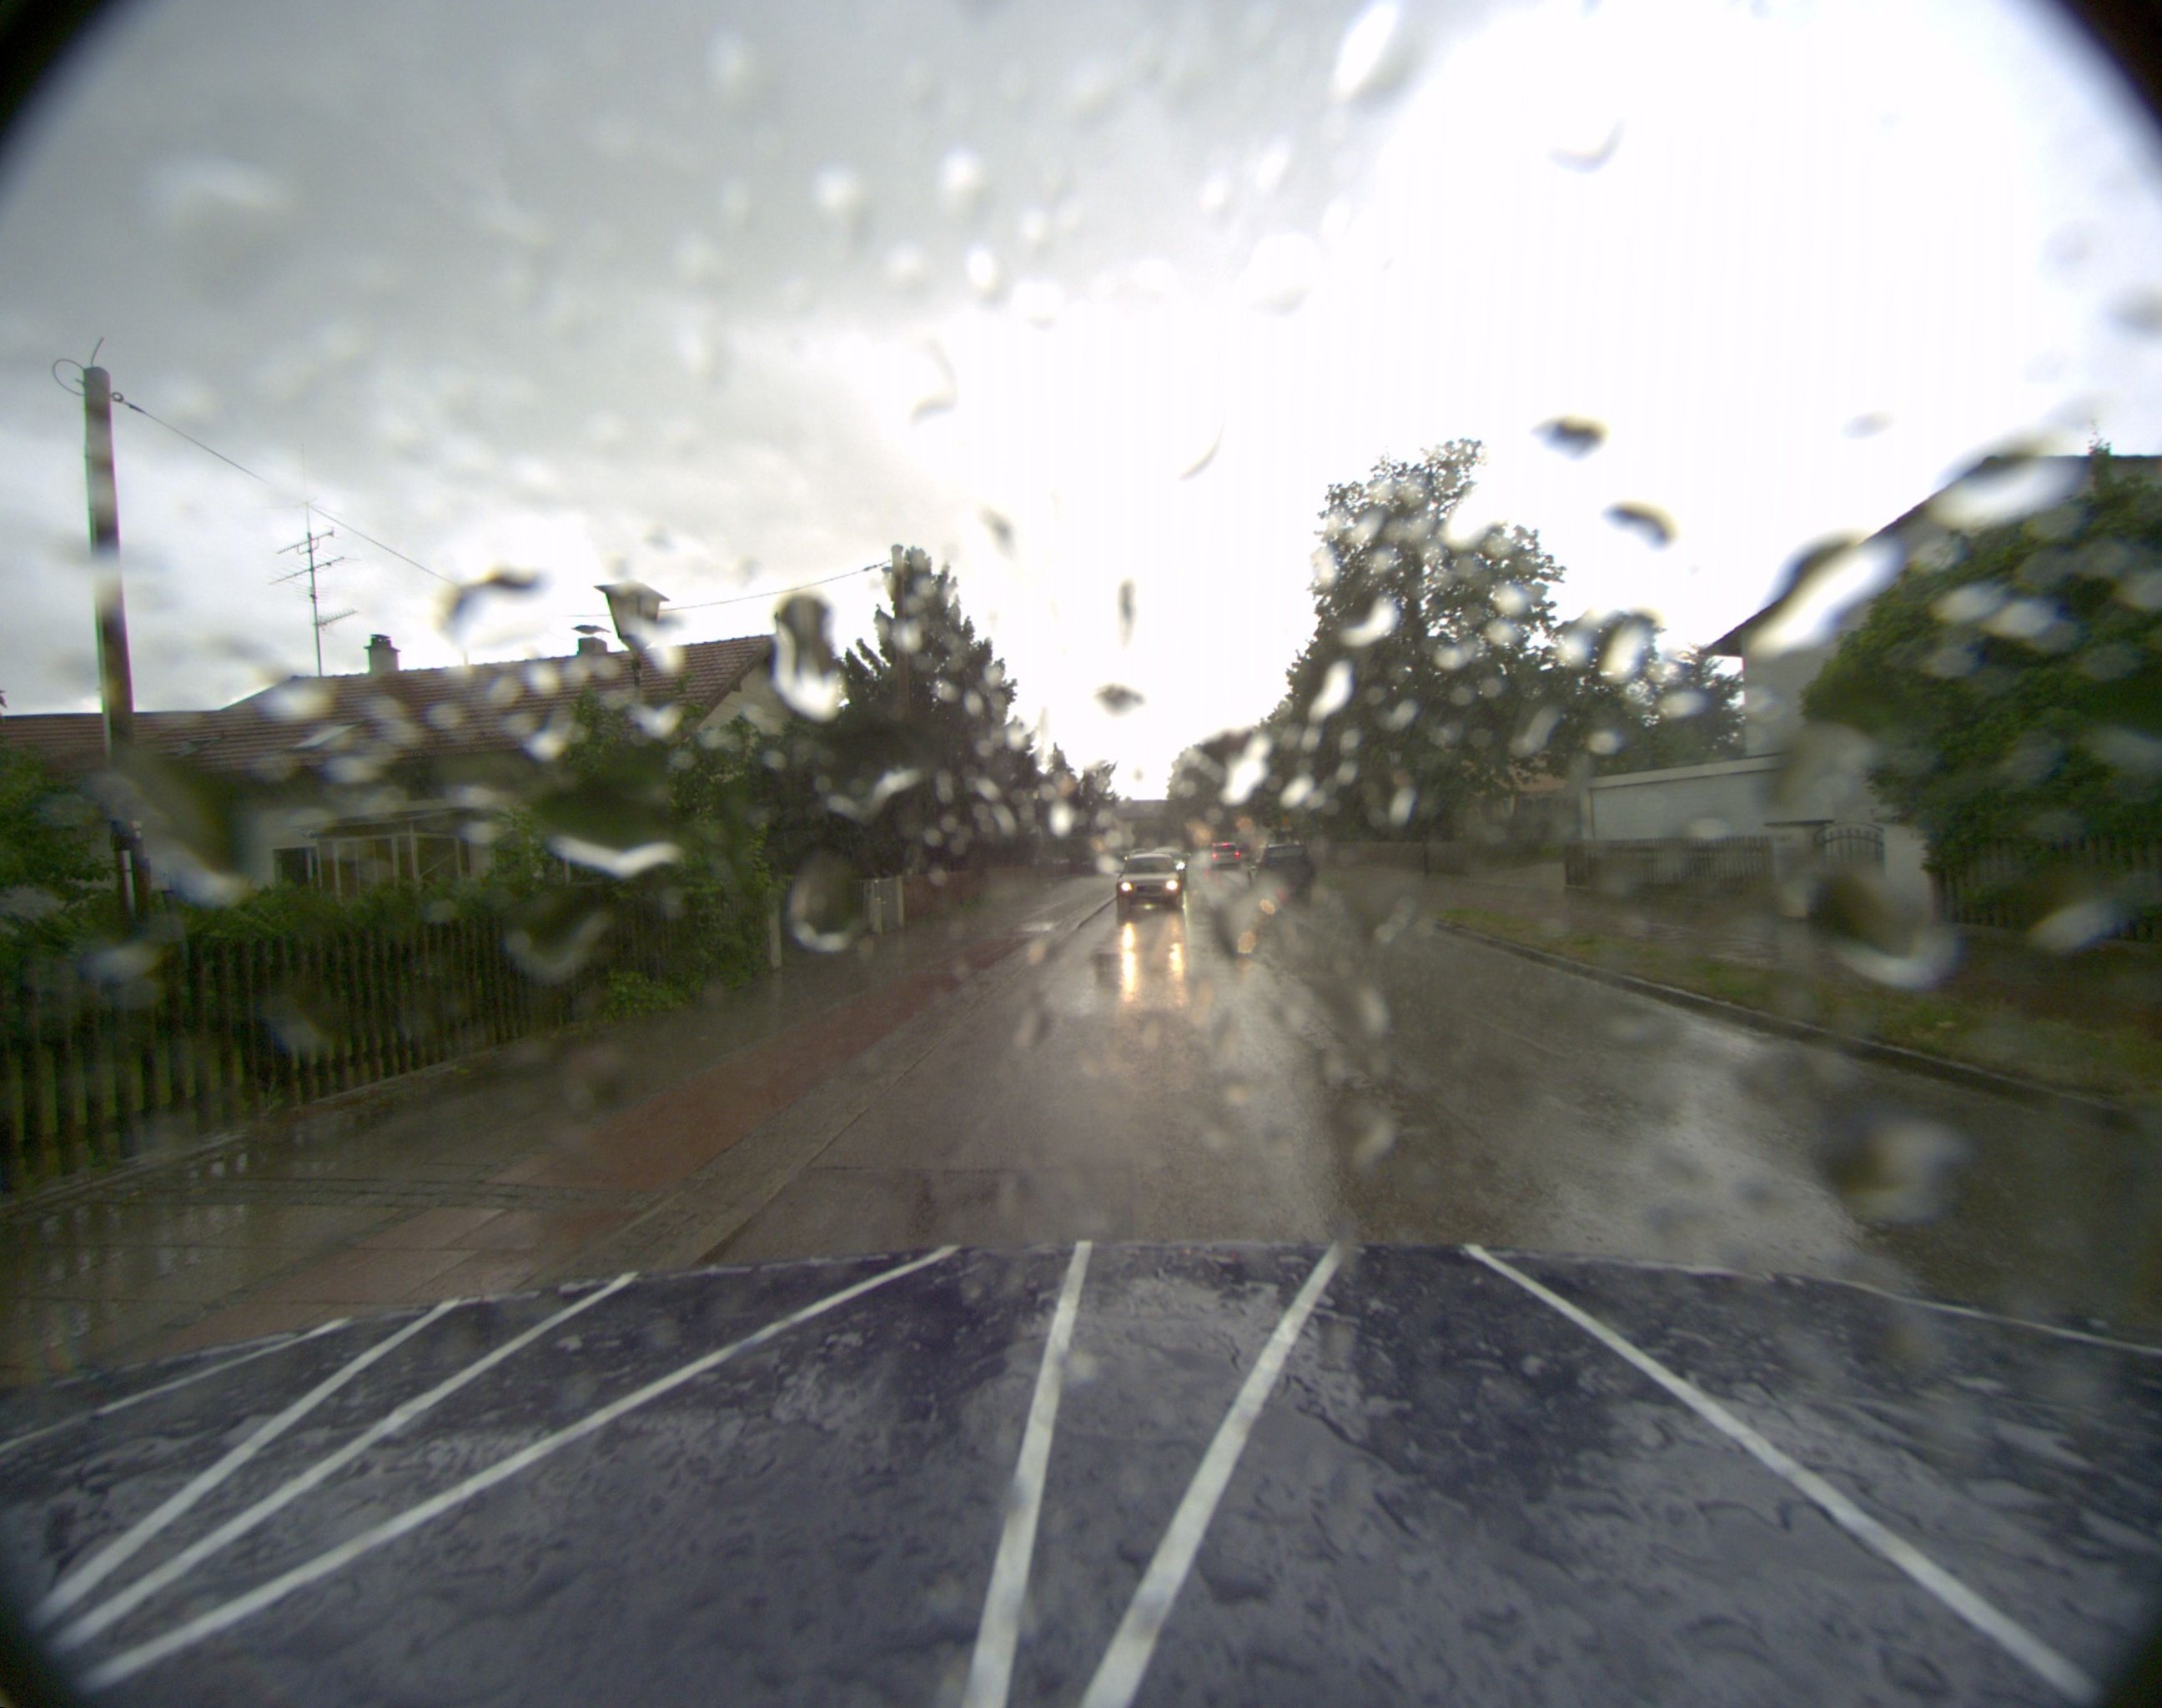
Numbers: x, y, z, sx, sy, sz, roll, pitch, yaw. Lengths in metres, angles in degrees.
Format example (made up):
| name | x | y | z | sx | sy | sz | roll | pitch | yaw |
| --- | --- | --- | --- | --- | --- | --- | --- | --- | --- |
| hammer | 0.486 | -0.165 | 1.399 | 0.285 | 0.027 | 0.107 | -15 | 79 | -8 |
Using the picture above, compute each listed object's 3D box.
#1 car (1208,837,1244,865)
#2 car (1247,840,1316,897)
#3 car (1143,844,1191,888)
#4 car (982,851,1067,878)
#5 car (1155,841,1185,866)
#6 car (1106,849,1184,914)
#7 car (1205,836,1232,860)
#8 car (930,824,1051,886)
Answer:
| name | x | y | z | sx | sy | sz | roll | pitch | yaw |
| --- | --- | --- | --- | --- | --- | --- | --- | --- | --- |
| car | 9.169 | -0.207 | 48.322 | 1.757 | 1.668 | 4.001 | -1 | 1 | 4 |
| car | 6.142 | 0.403 | 23.625 | 1.590 | 1.601 | 3.540 | -1 | 1 | 7 |
| car | 3.852 | 0.451 | 33.682 | 1.871 | 1.603 | 4.962 | -4 | 1 | 7 |
| car | -3.022 | 0.549 | 41.275 | 4.440 | 1.413 | 1.830 | 0 | 1 | 0 |
| car | 6.279 | -0.060 | 53.466 | 1.871 | 1.512 | 4.963 | -4 | 1 | 7 |
| car | 1.852 | 0.679 | 20.954 | 1.871 | 1.512 | 4.190 | -3 | 1 | 7 |
| car | 11.079 | -0.515 | 61.531 | 1.926 | 1.734 | 4.193 | -3 | 1 | 8 |
| car | -4.050 | 0.014 | 34.652 | 5.317 | 2.712 | 1.999 | 0 | 1 | -2 |
